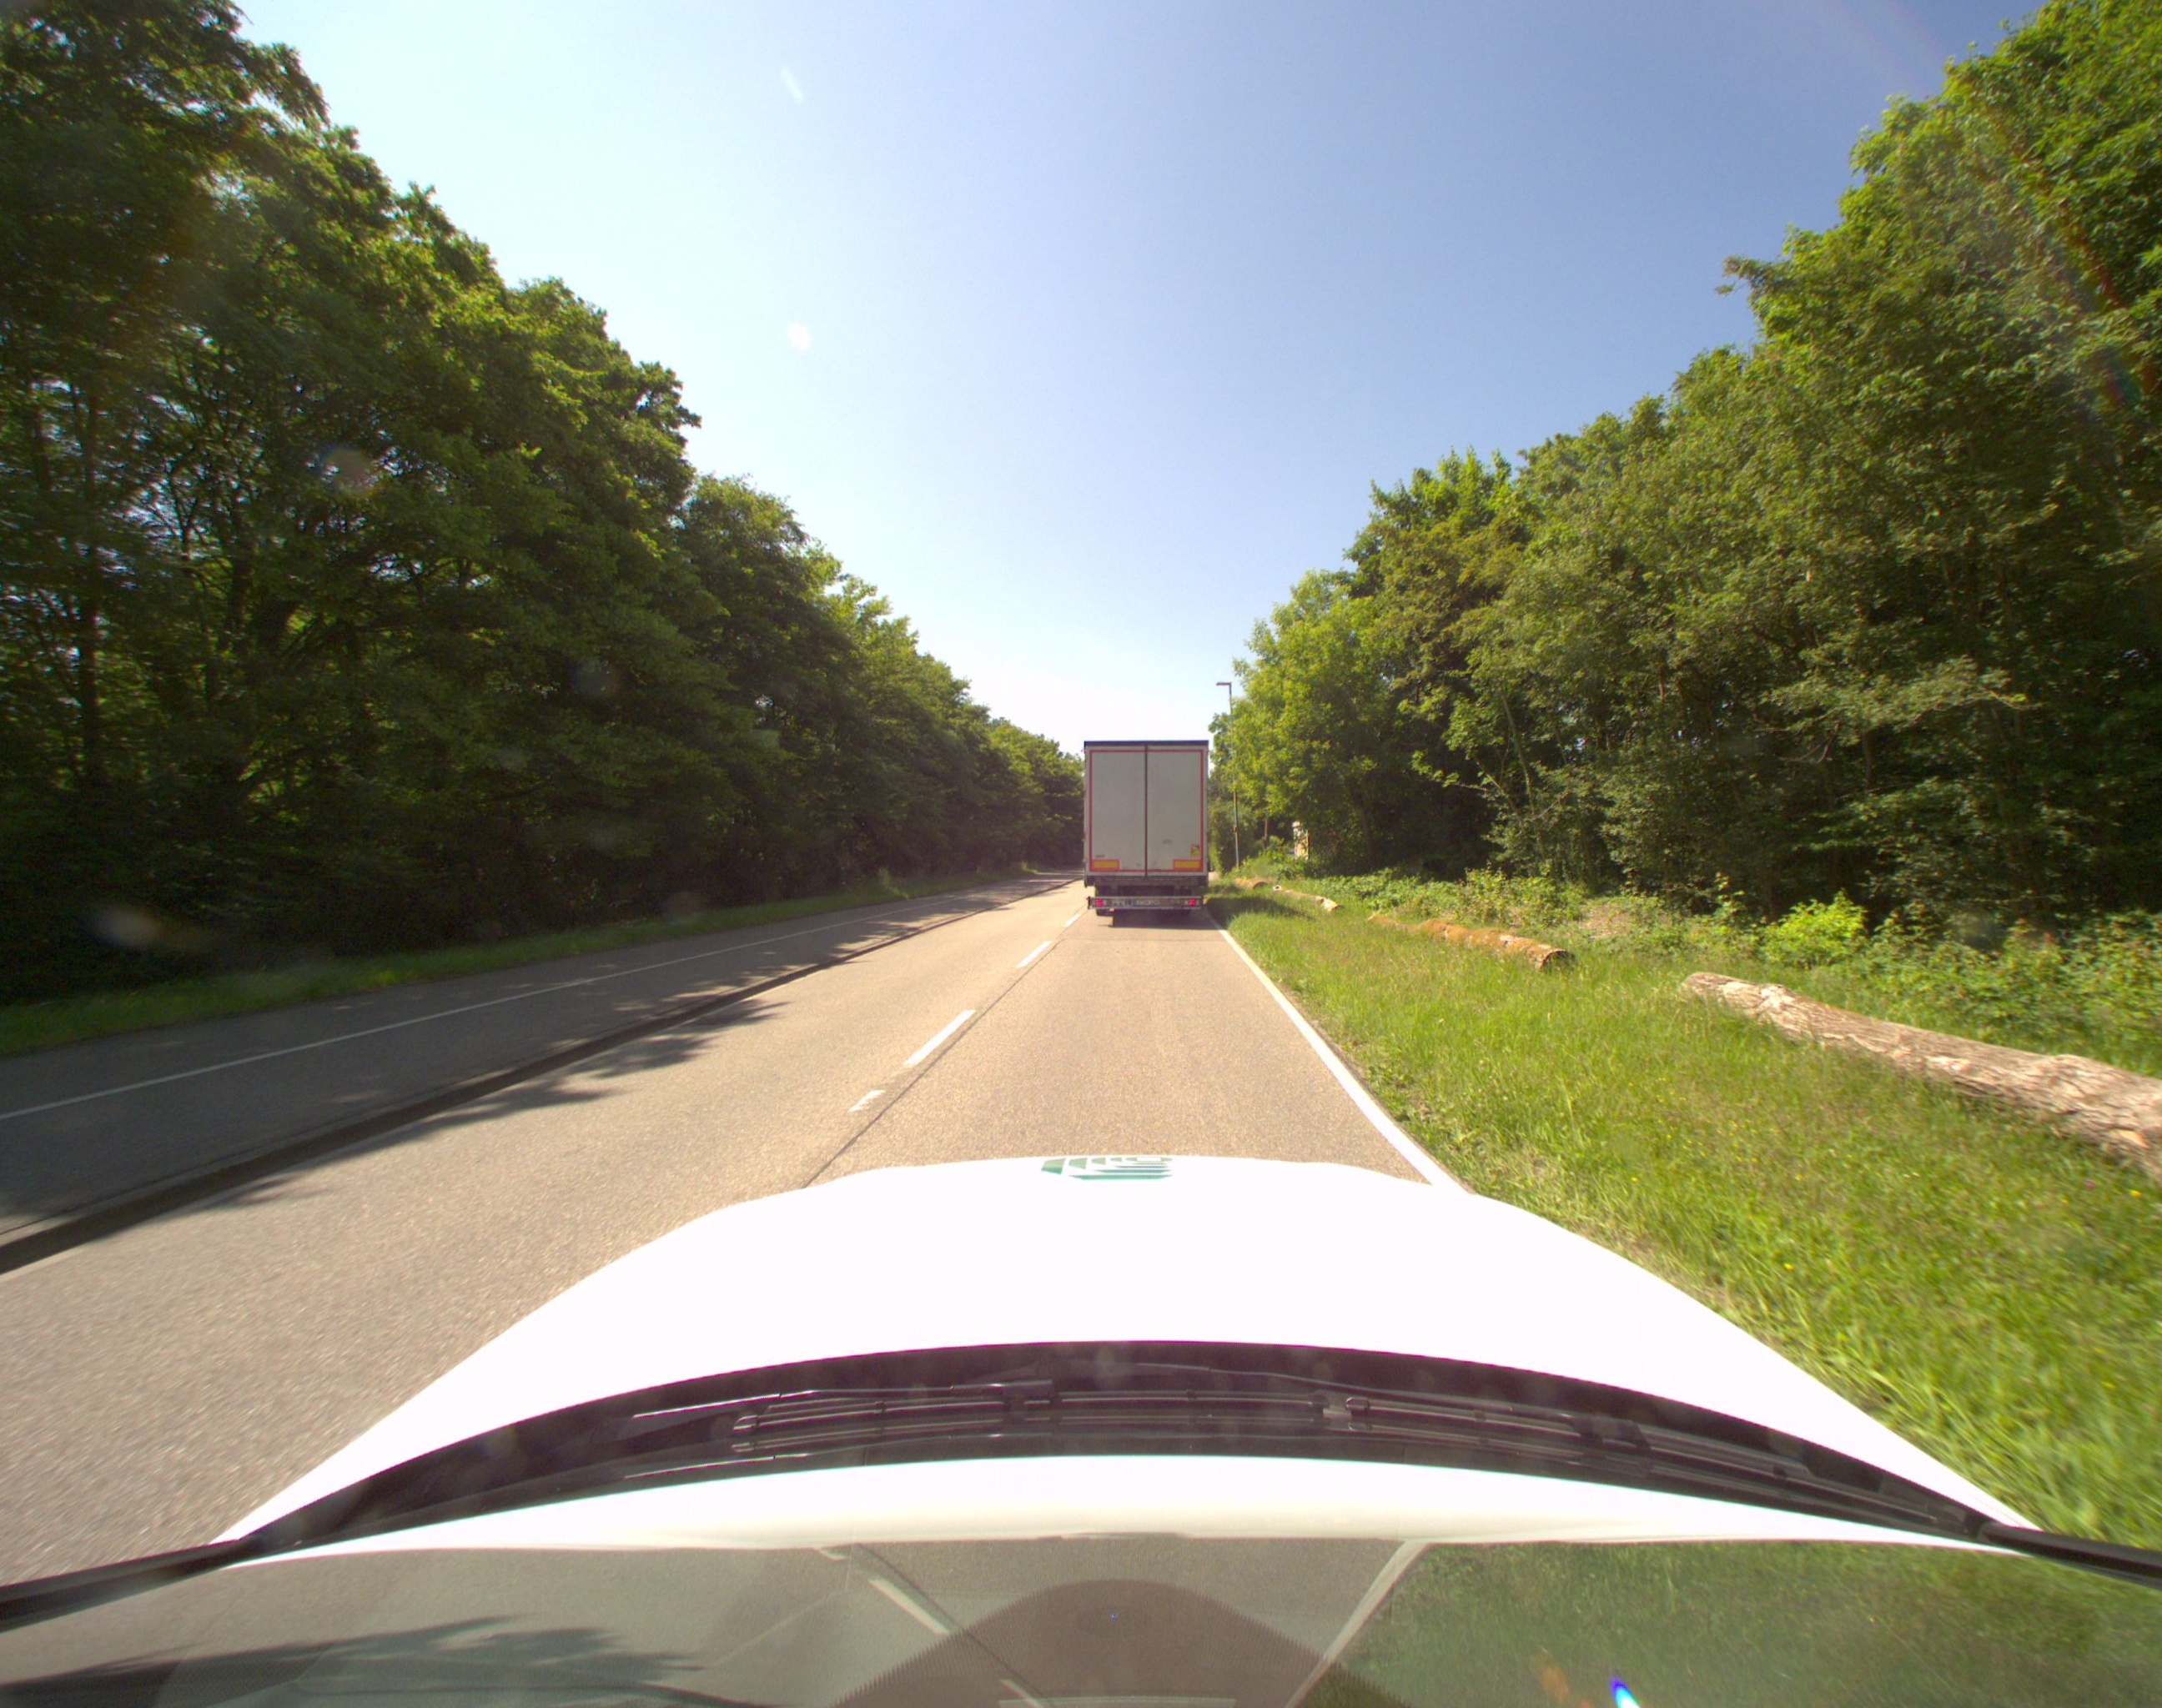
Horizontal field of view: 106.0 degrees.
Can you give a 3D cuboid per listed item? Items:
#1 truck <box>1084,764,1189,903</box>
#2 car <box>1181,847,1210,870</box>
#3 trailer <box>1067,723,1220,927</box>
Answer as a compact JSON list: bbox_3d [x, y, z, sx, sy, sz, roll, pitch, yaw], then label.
[{"bbox_3d":[1.803,-0.609,27.930,3.065,4.069,7.964,0,0,3],"label":"truck"},{"bbox_3d":[7.862,0.294,56.213,1.703,1.530,3.855,-2,0,4],"label":"car"},{"bbox_3d":[1.478,-0.601,21.267,3.065,4.069,9.815,0,0,3],"label":"trailer"}]
